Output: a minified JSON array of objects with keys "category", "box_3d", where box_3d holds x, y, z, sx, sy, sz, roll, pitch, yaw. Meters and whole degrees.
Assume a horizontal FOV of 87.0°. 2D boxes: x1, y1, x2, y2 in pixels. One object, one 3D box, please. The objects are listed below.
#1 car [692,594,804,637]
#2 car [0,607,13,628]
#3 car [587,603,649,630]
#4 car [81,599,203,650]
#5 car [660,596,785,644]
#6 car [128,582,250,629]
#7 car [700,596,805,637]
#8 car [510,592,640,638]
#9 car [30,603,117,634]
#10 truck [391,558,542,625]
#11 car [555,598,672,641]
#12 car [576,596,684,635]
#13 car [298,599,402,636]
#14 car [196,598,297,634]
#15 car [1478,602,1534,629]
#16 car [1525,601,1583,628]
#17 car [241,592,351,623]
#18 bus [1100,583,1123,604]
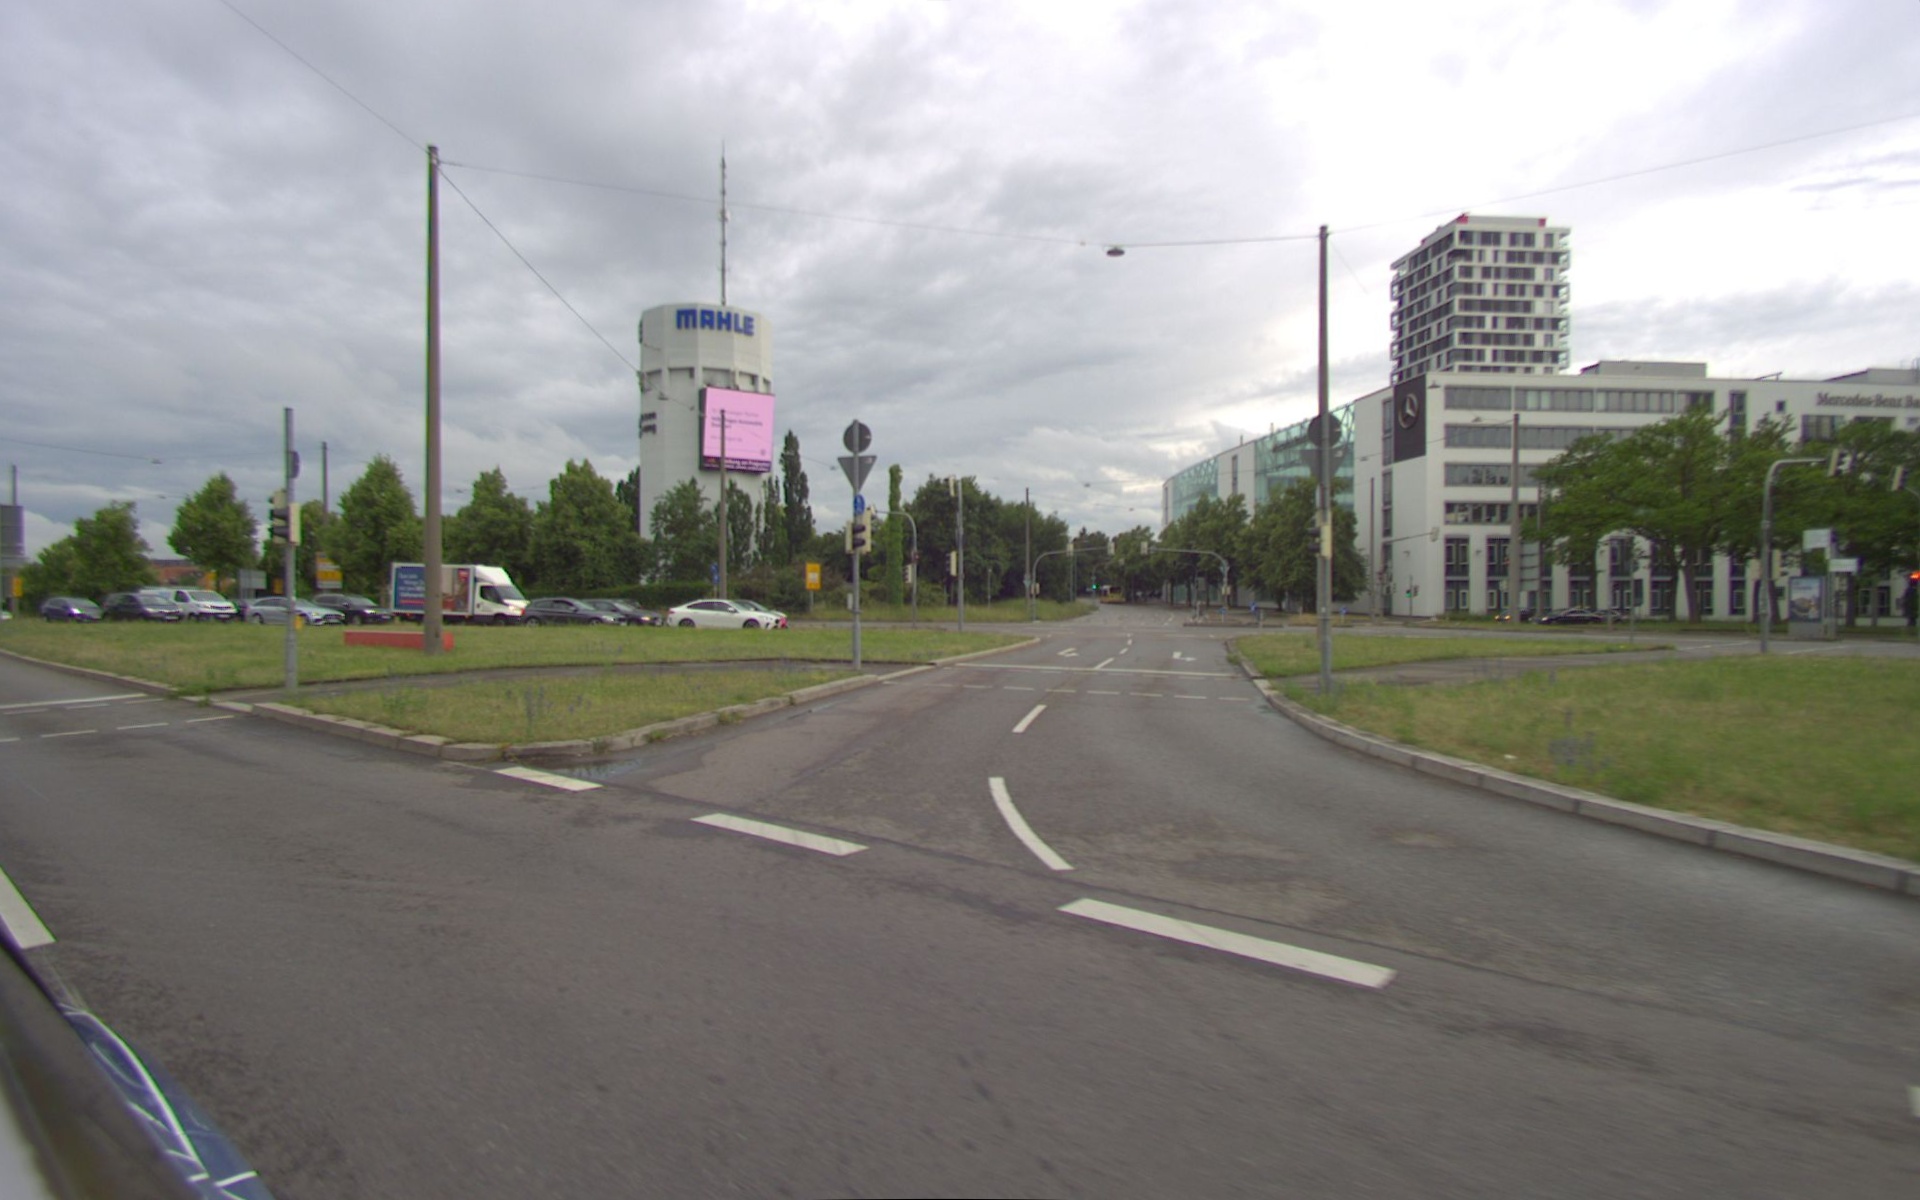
[{"category":"car","box_3d":[-9.256,0.654,44.482,4.458,1.695,2.000,-2,2,1]},{"category":"car","box_3d":[-83.726,1.549,86.643,3.960,1.674,1.992,-1,2,13]},{"category":"car","box_3d":[-25.307,1.225,75.009,3.961,1.831,1.810,-1,2,14]},{"category":"car","box_3d":[-37.852,1.116,46.822,5.131,2.197,1.987,-1,2,20]},{"category":"car","box_3d":[-9.505,0.785,40.685,4.462,1.695,1.998,-1,2,4]},{"category":"car","box_3d":[-38.503,0.282,50.538,5.268,2.197,2.359,-1,2,20]},{"category":"car","box_3d":[-9.656,0.745,47.438,4.459,1.695,1.999,-2,2,2]},{"category":"car","box_3d":[-15.444,0.588,40.717,4.472,1.695,1.994,-1,2,11]},{"category":"car","box_3d":[-52.091,1.088,59.450,4.489,1.695,1.986,-1,2,21]},{"category":"truck","box_3d":[-22.394,-0.396,46.006,5.962,2.855,2.125,-1,2,9]},{"category":"car","box_3d":[-15.264,0.841,44.702,4.467,1.695,1.996,-1,2,8]},{"category":"car","box_3d":[-15.706,0.732,48.302,4.467,1.695,1.996,-1,2,8]},{"category":"car","box_3d":[-30.722,0.864,50.967,4.482,1.695,1.989,-1,2,17]},{"category":"car","box_3d":[-37.330,0.836,52.971,4.482,1.695,1.989,-1,2,17]},{"category":"car","box_3d":[40.024,1.108,74.117,3.650,1.688,1.906,-3,2,-28]},{"category":"car","box_3d":[41.503,1.002,70.726,3.650,1.688,1.906,-3,2,-28]},{"category":"car","box_3d":[-31.593,0.375,48.183,4.492,1.320,1.989,-1,2,17]},{"category":"bus","box_3d":[26.627,-1.195,178.171,2.821,3.351,8.886,-2,2,1]}]
